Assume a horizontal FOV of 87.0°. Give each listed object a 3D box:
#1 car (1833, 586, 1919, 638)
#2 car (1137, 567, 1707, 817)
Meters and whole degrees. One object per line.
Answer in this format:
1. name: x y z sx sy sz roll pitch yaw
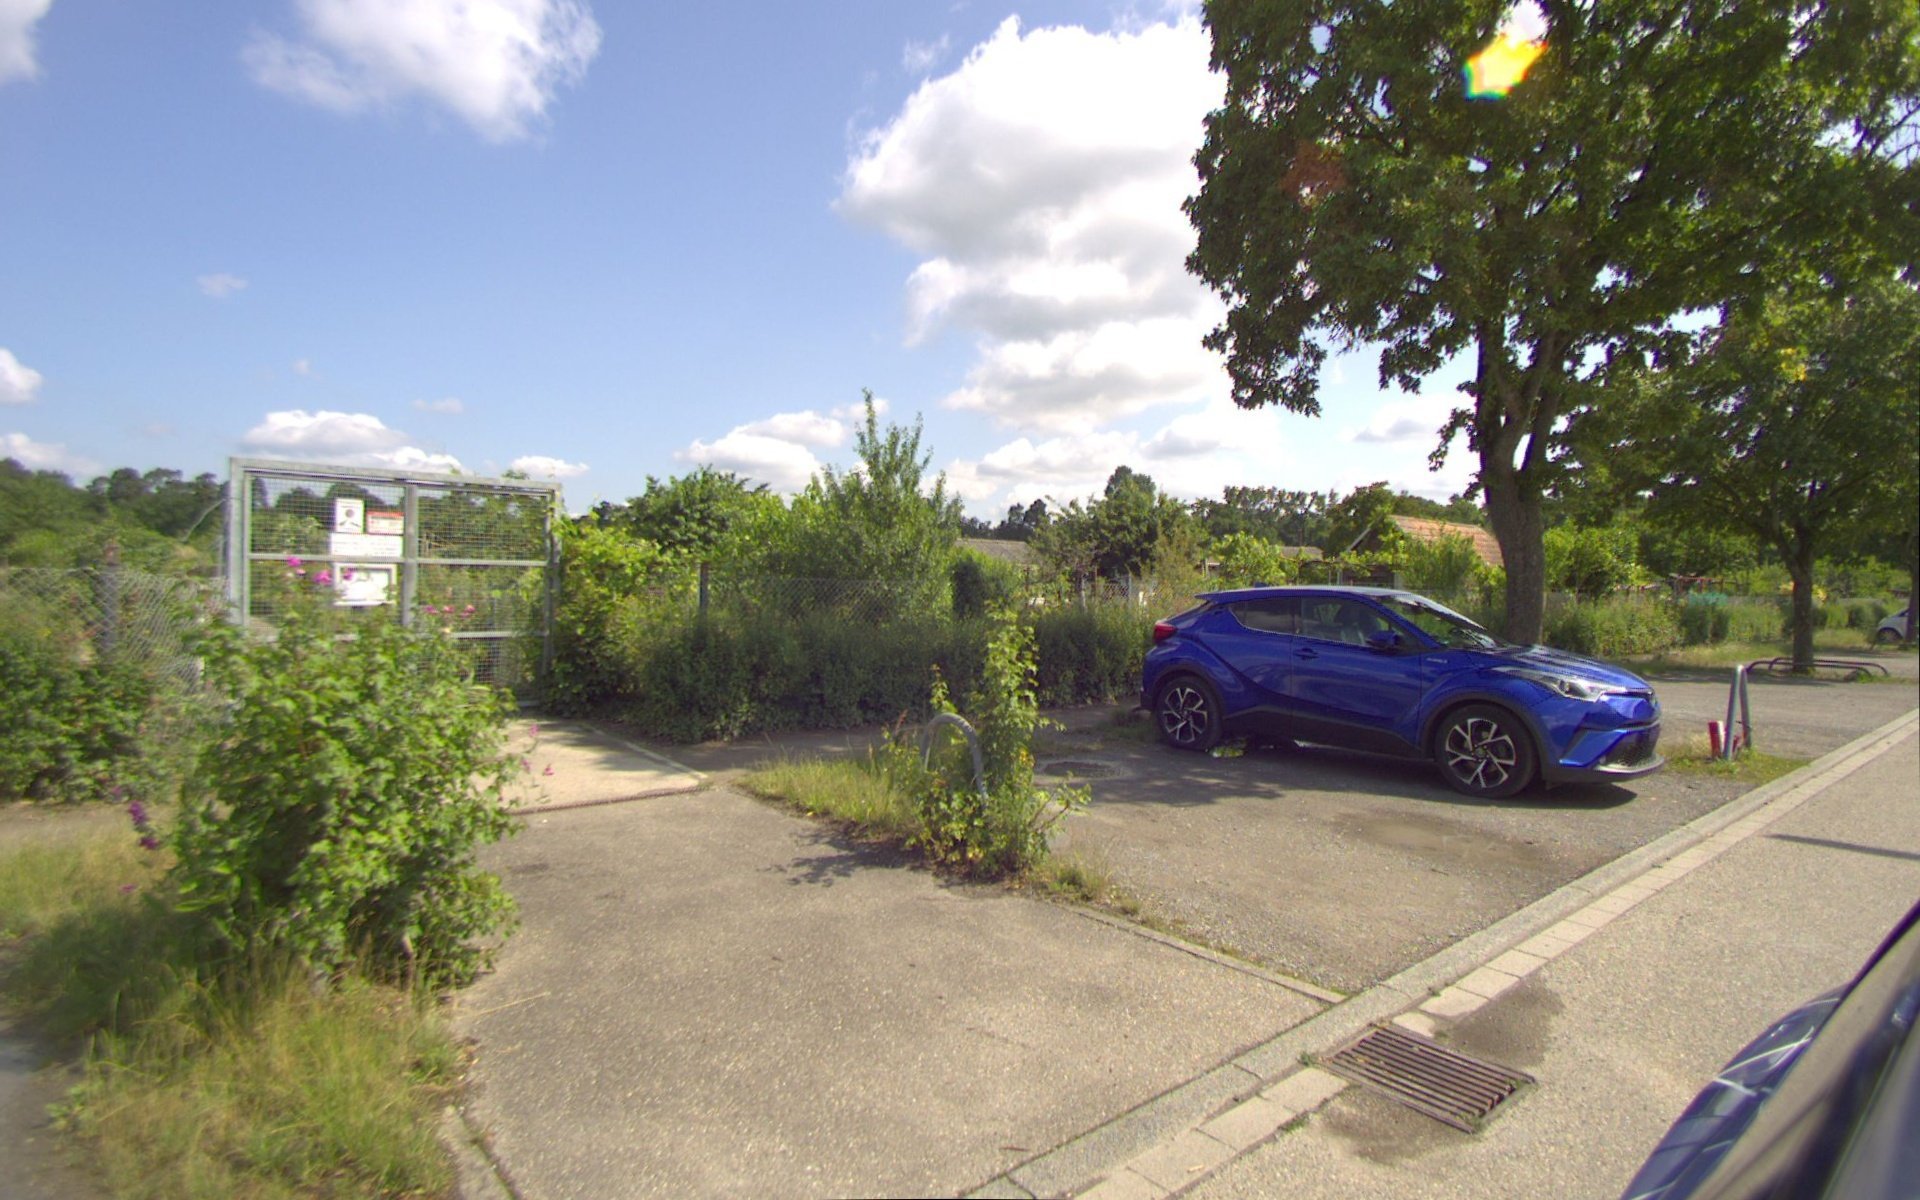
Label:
1. car: 32.946 0.400 34.988 1.965 1.772 3.926 -1 1 -40
2. car: 3.716 0.551 8.738 1.750 1.602 4.112 0 2 -41
